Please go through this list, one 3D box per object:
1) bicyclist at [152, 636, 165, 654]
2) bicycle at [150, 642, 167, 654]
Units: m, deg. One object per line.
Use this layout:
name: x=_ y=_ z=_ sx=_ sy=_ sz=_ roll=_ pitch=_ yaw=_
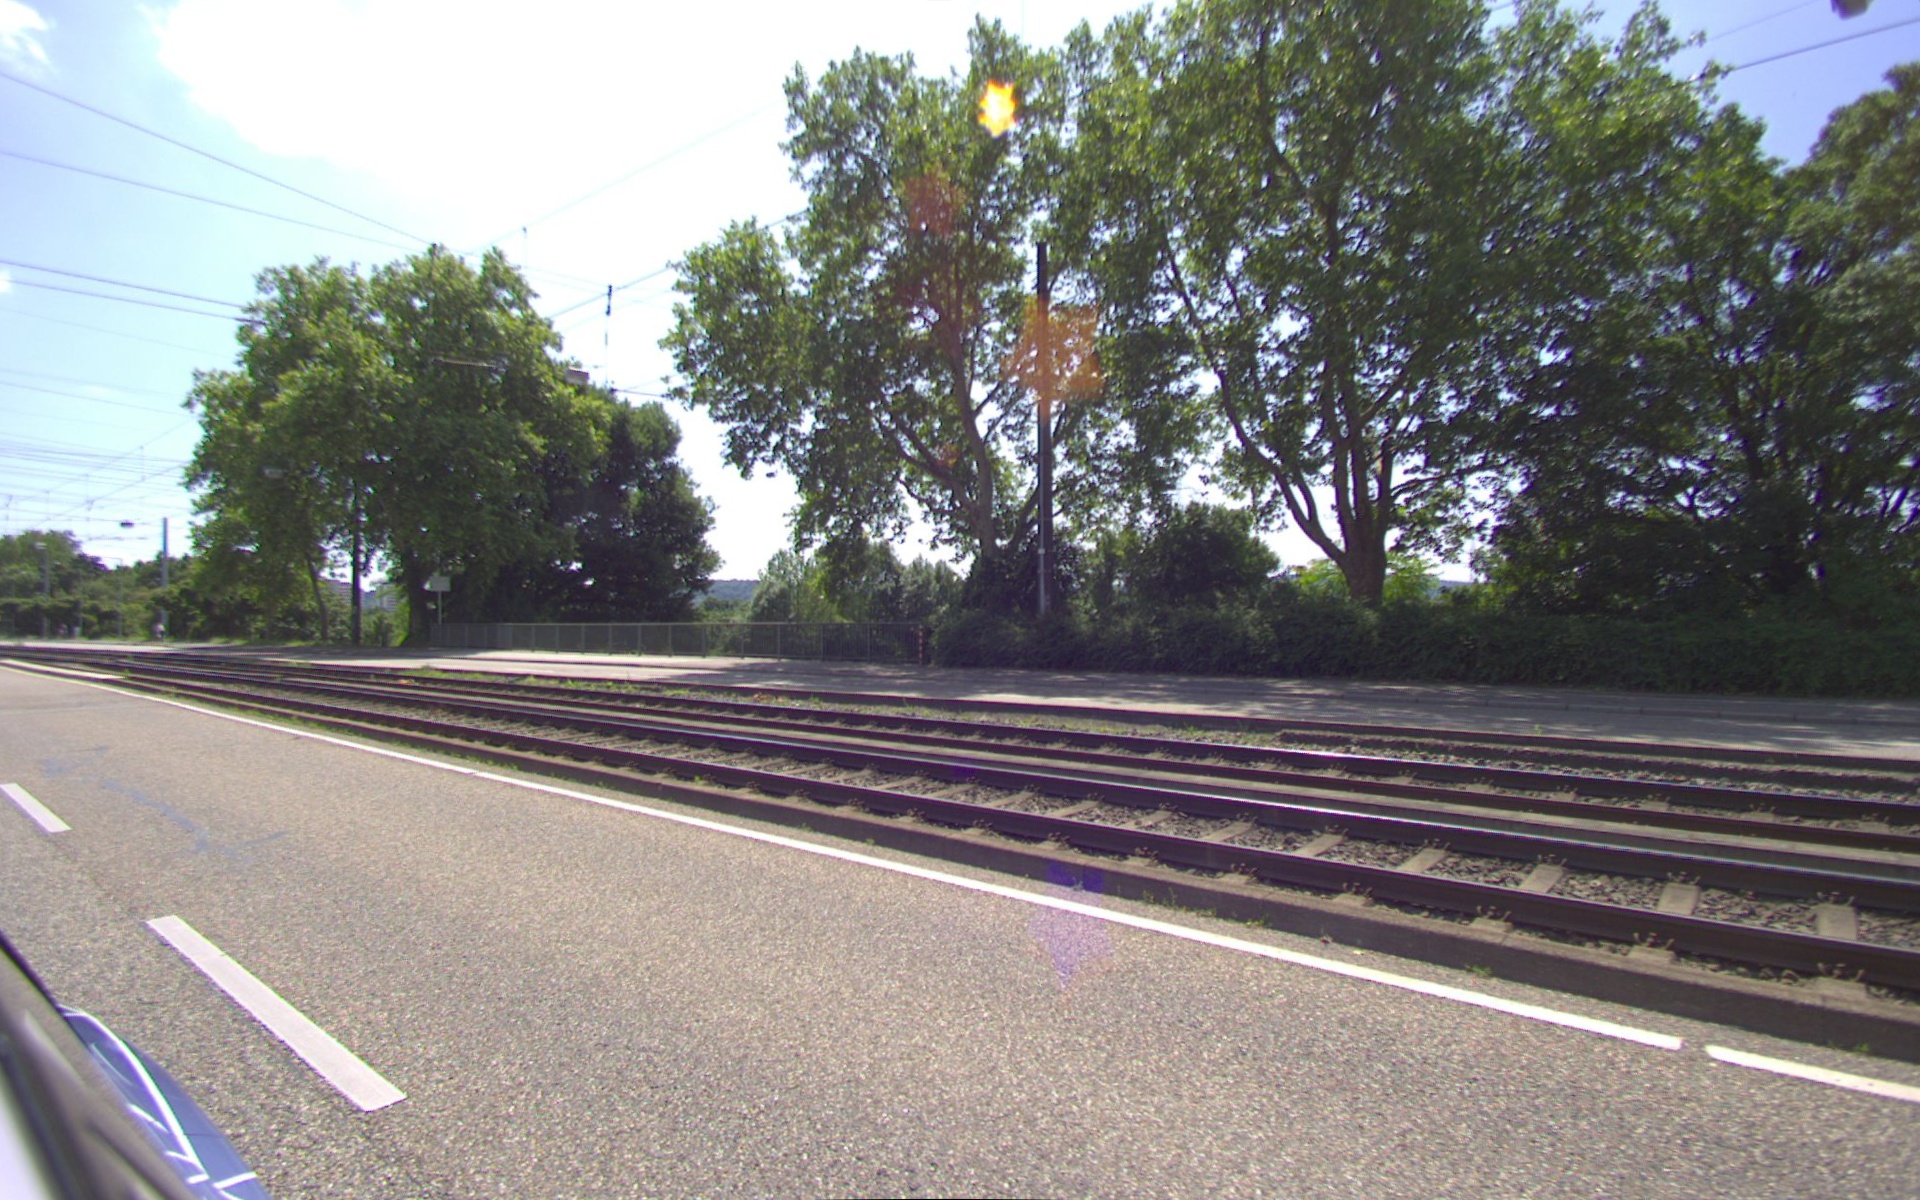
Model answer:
bicyclist: x=-67.337 y=3.763 z=84.993 sx=0.918 sy=1.495 sz=0.704 roll=-2 pitch=-2 yaw=40
bicycle: x=-67.297 y=4.028 z=84.990 sx=2.181 sy=0.924 sz=0.703 roll=-2 pitch=-2 yaw=40
